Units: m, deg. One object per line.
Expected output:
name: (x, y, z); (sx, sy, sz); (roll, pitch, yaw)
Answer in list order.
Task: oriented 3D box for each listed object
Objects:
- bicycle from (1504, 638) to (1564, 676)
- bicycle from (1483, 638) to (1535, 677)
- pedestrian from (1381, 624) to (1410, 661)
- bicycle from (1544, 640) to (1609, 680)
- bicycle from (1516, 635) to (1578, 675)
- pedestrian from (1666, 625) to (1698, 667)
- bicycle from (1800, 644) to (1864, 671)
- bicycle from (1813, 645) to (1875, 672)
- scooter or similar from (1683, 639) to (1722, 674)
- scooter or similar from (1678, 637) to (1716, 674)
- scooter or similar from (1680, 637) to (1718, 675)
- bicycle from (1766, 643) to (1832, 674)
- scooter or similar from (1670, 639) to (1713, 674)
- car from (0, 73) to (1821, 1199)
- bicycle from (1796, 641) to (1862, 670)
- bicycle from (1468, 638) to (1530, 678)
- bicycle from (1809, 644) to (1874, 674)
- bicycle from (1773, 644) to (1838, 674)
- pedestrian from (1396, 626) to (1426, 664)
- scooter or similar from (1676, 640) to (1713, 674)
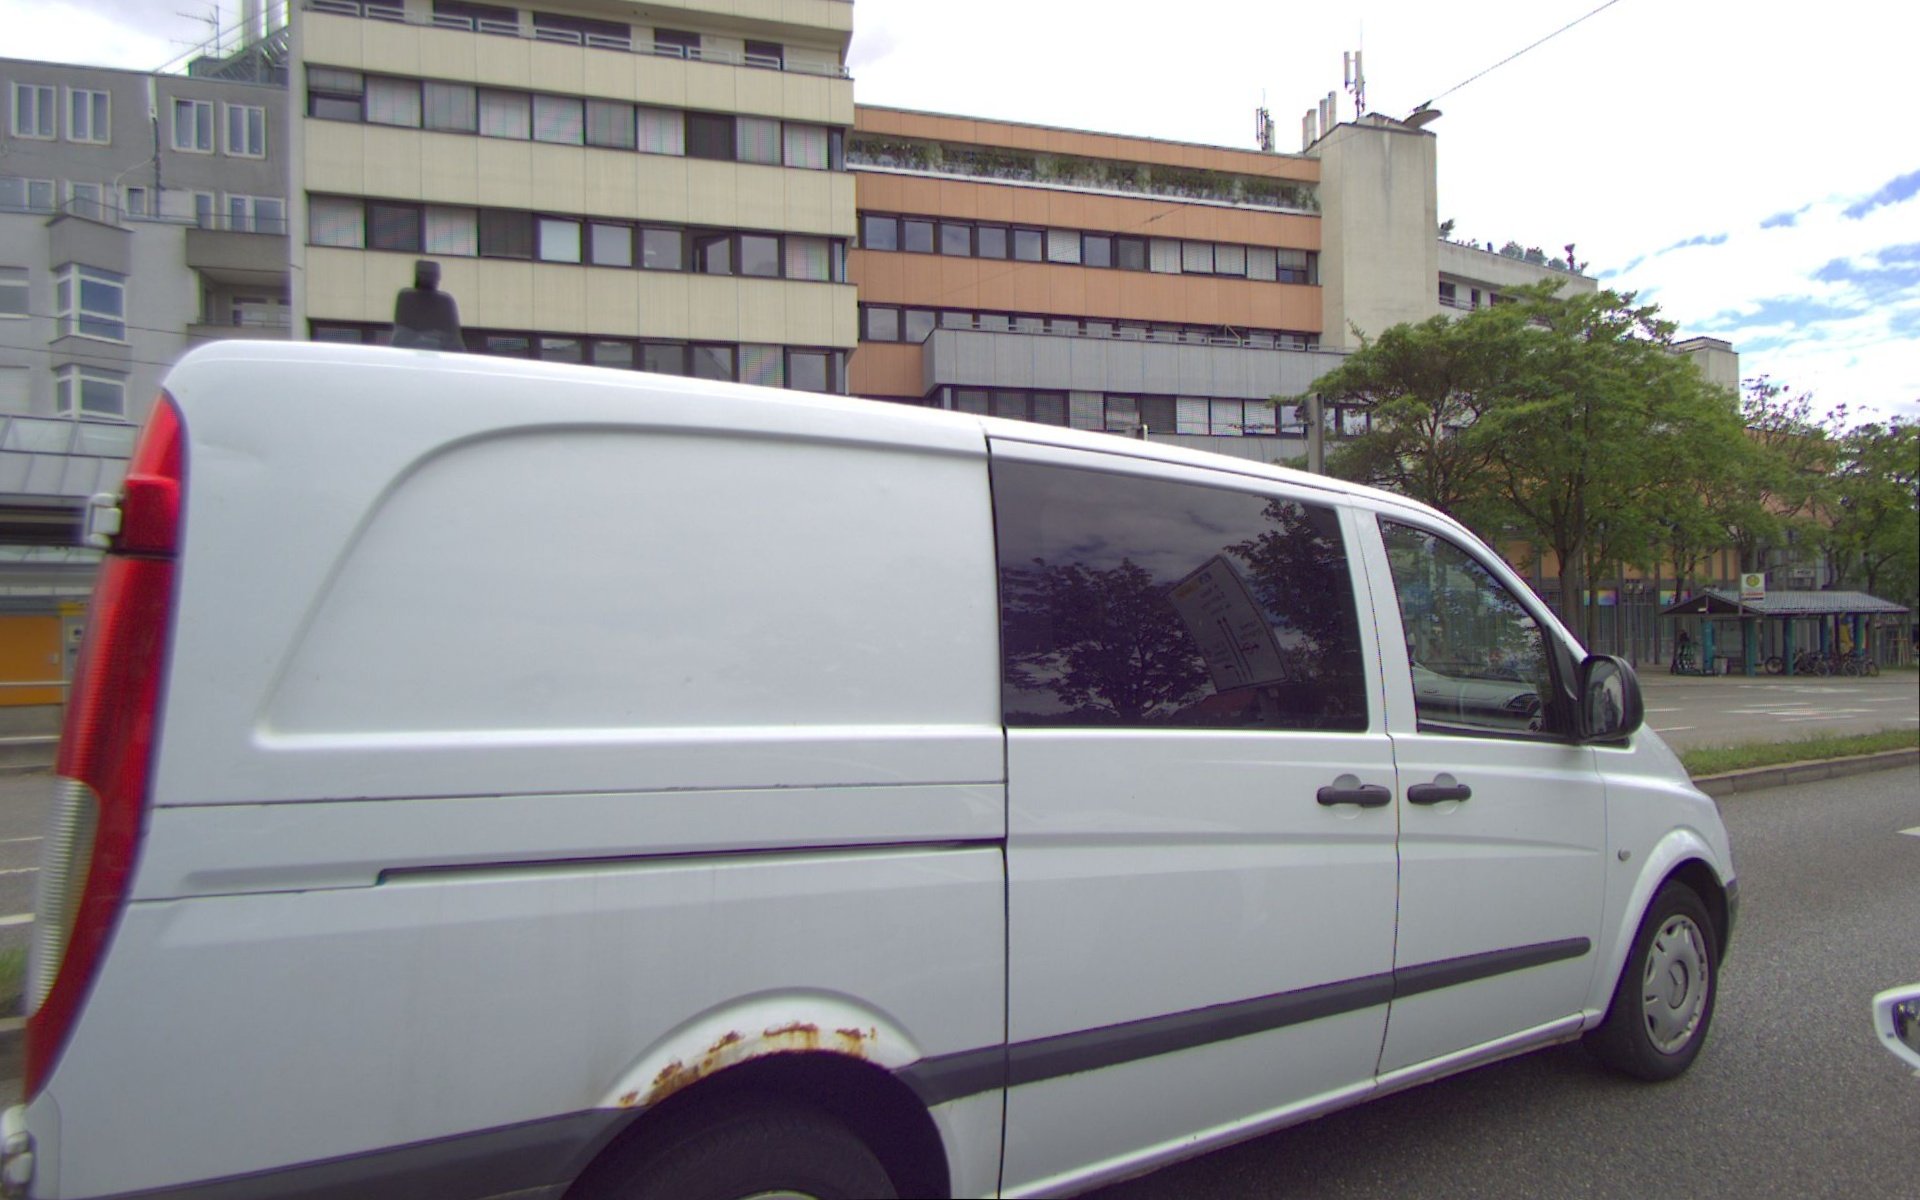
bicycle: (19.559, 1.922, 34.255); (1.649, 1.270, 0.627); (0, -2, 11)
bicycle: (18.210, 1.904, 33.348); (1.441, 1.270, 0.432); (0, -2, 13)
pedestrian: (19.334, 1.883, 44.582); (0.984, 1.639, 0.730); (1, -2, -26)
bicycle: (19.784, 1.924, 32.255); (1.649, 1.270, 0.627); (0, -2, 11)
bicycle: (19.439, 1.812, 33.270); (1.649, 1.270, 0.627); (0, -2, 11)
pedestrian: (31.181, 1.988, 43.364); (0.984, 1.805, 0.730); (1, -2, -26)
bicycle: (38.904, 2.551, 44.812); (0.705, 1.168, 2.050); (2, -2, -37)
bicycle: (40.494, 2.658, 46.054); (0.705, 1.168, 2.050); (2, -2, -37)
scooter or similar: (29.198, 2.209, 39.513); (0.256, 1.337, 1.196); (1, -2, -29)
scooter or similar: (28.736, 2.160, 39.189); (0.219, 1.403, 1.196); (1, -2, -29)
scooter or similar: (28.941, 2.179, 39.369); (0.256, 1.442, 1.196); (1, -2, -29)
bicycle: (35.906, 2.484, 43.014); (0.705, 1.169, 2.049); (1, 1, -37)
scooter or similar: (28.239, 2.162, 38.792); (0.335, 1.286, 1.315); (1, 0, -29)
car: (0.567, 0.491, 3.160); (5.019, 2.040, 1.863); (0, -1, -32)
bicycle: (37.882, 2.426, 43.807); (0.705, 1.168, 2.049); (2, -1, -37)
bicycle: (17.534, 1.877, 32.691); (1.649, 1.270, 0.627); (0, -2, 11)
bicycle: (39.734, 2.651, 45.293); (0.705, 1.169, 2.049); (2, 1, -37)
bicycle: (36.803, 2.538, 43.731); (0.705, 1.169, 2.049); (2, 0, -37)
pedestrian: (19.655, 1.955, 43.766); (0.984, 1.639, 0.730); (1, -2, -26)
scooter or similar: (28.522, 2.213, 39.015); (0.265, 1.312, 1.122); (1, -2, -30)
